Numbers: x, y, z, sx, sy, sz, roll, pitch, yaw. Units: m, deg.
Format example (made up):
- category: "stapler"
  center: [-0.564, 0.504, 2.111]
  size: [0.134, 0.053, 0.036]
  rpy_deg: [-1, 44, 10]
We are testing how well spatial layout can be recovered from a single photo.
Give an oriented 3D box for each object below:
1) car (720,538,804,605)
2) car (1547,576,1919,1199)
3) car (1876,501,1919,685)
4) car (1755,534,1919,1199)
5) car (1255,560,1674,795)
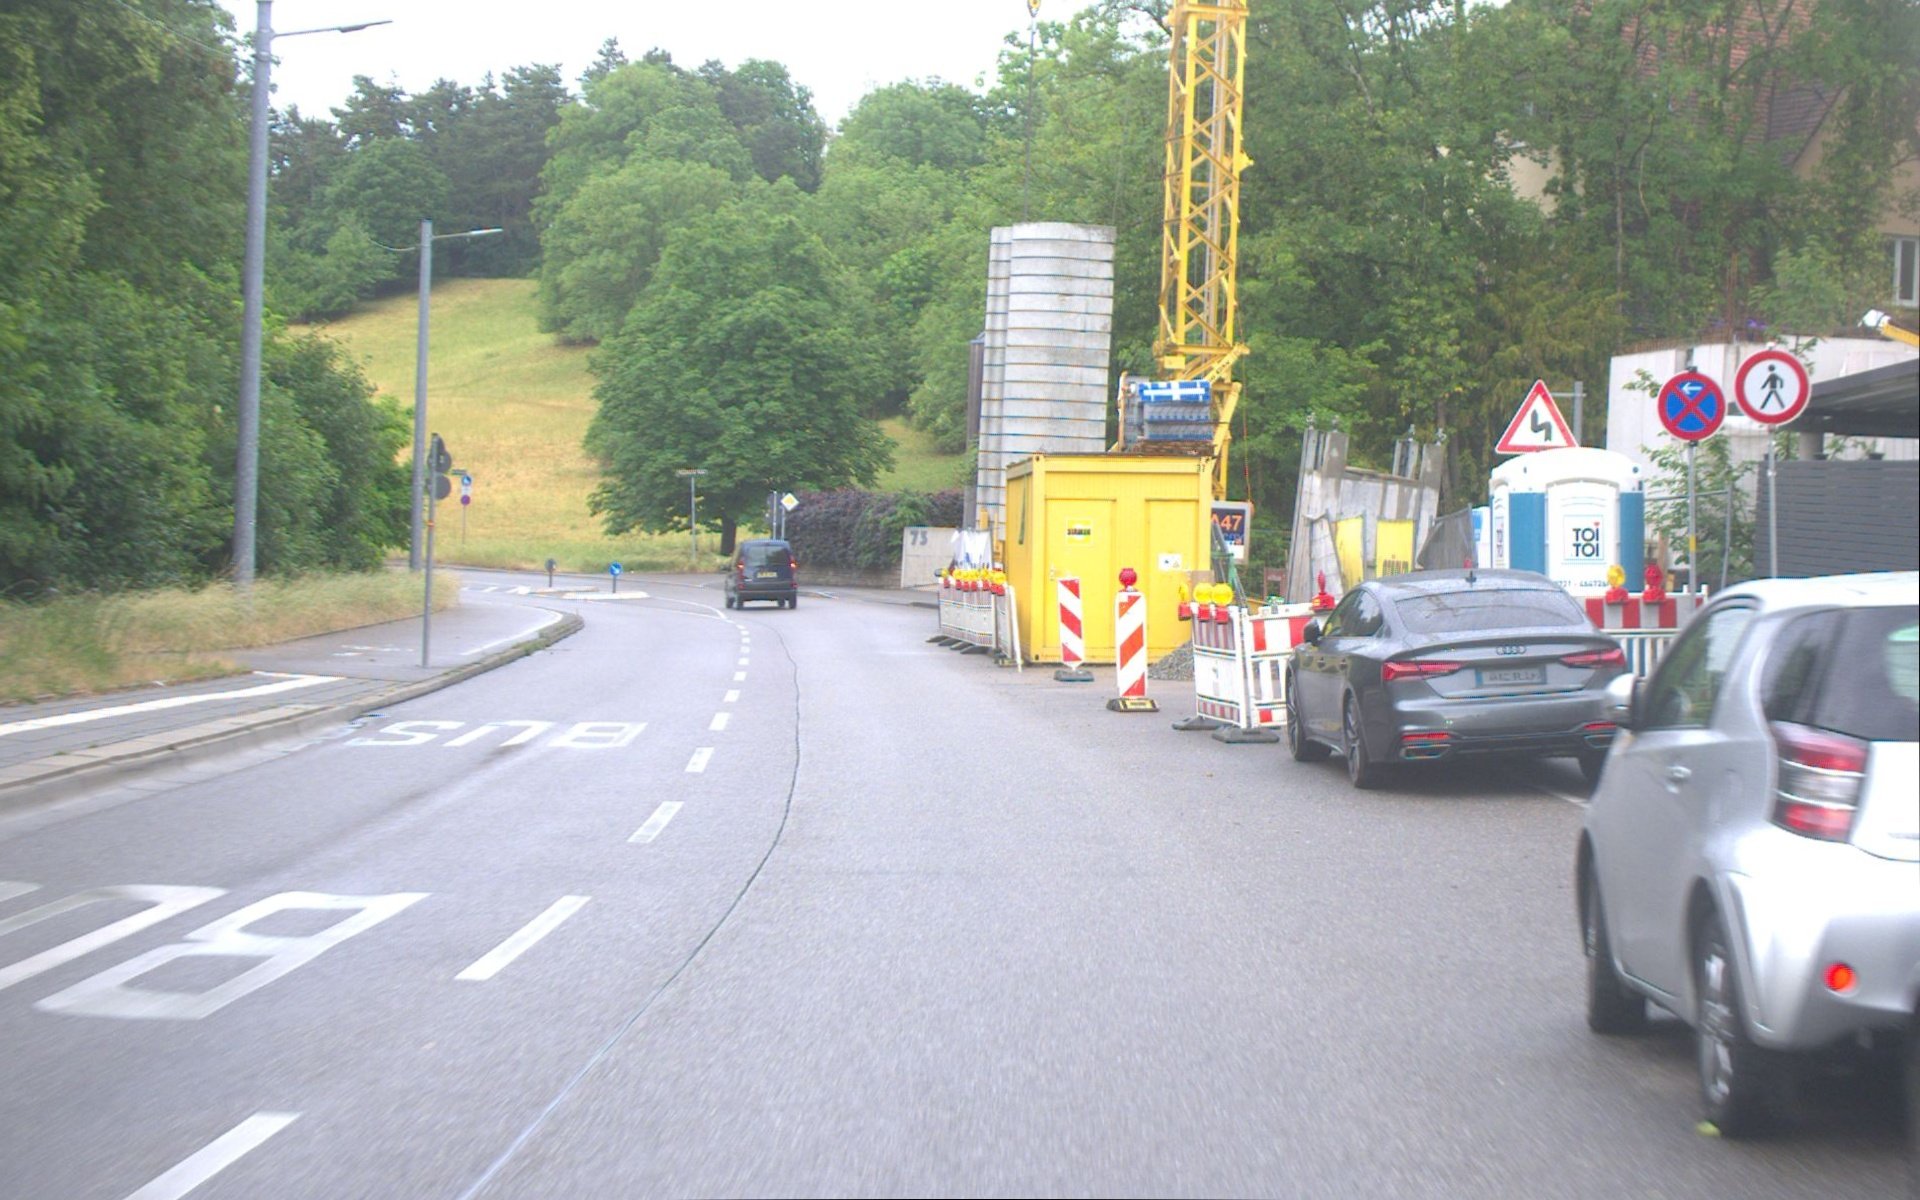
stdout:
- category: "car"
  center: [-5.323, -0.783, 92.070]
  size: [1.931, 1.745, 4.001]
  rpy_deg: [1, 1, -8]
- category: "car"
  center: [2.745, 0.678, 9.607]
  size: [1.673, 1.452, 3.386]
  rpy_deg: [1, 1, 1]
- category: "car"
  center: [8.483, 0.014, 26.525]
  size: [1.695, 1.467, 4.000]
  rpy_deg: [4, 1, 1]
- category: "car"
  center: [2.601, 0.673, 5.421]
  size: [1.932, 1.590, 4.394]
  rpy_deg: [-1, 0, 4]
- category: "car"
  center: [3.376, 0.461, 23.979]
  size: [1.931, 1.417, 4.838]
  rpy_deg: [1, 1, -3]
